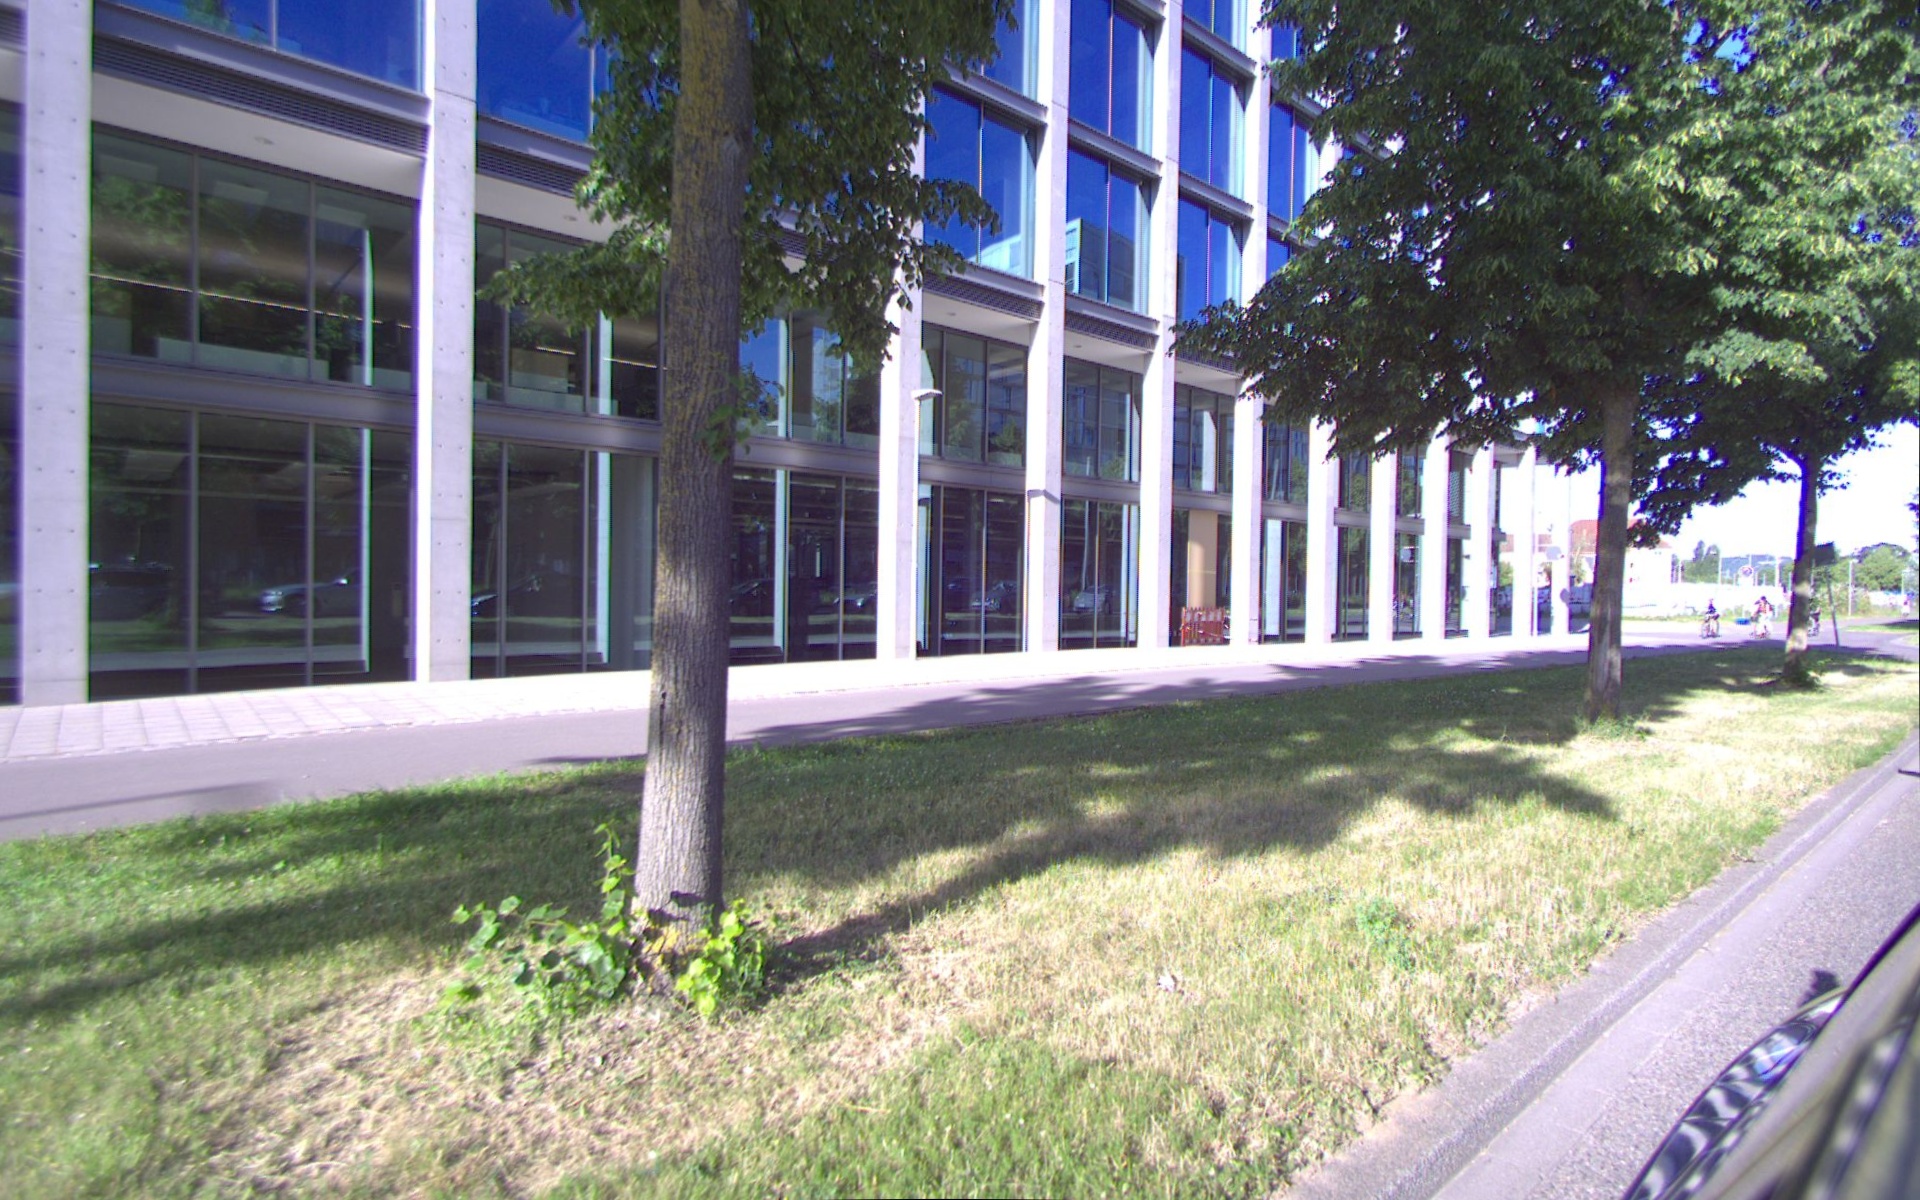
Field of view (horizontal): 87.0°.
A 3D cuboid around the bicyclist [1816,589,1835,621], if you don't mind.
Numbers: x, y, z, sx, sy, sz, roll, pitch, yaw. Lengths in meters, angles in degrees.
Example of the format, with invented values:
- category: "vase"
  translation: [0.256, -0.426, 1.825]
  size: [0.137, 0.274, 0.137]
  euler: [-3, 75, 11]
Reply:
- category: "bicyclist"
  translation: [35.738, 0.210, 41.781]
  size: [0.512, 1.305, 0.534]
  euler: [-1, 0, -40]

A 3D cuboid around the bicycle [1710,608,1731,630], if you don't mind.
- category: "bicycle"
  translation: [30.199, 0.733, 40.190]
  size: [1.297, 0.828, 0.414]
  euler: [-1, 1, -41]

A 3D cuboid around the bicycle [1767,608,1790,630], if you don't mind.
- category: "bicycle"
  translation: [31.967, 0.735, 39.504]
  size: [1.321, 0.828, 0.464]
  euler: [-1, 1, -41]

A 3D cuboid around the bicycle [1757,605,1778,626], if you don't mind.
- category: "bicycle"
  translation: [34.066, 0.641, 42.705]
  size: [1.321, 0.828, 0.464]
  euler: [-1, 1, -41]

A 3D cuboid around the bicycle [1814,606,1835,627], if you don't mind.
- category: "bicycle"
  translation: [35.684, 0.691, 41.747]
  size: [1.321, 0.828, 0.464]
  euler: [-1, 1, -41]

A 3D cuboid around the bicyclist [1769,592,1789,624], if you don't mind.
- category: "bicyclist"
  translation: [31.977, 0.303, 39.507]
  size: [0.499, 1.232, 0.534]
  euler: [-1, 0, -40]

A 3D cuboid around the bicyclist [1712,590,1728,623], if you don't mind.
- category: "bicyclist"
  translation: [30.151, 0.266, 40.157]
  size: [0.410, 1.305, 0.448]
  euler: [-1, 0, -40]

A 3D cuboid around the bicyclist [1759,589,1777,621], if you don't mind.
- category: "bicyclist"
  translation: [34.073, 0.204, 42.687]
  size: [0.449, 1.305, 0.534]
  euler: [-1, 0, -40]
